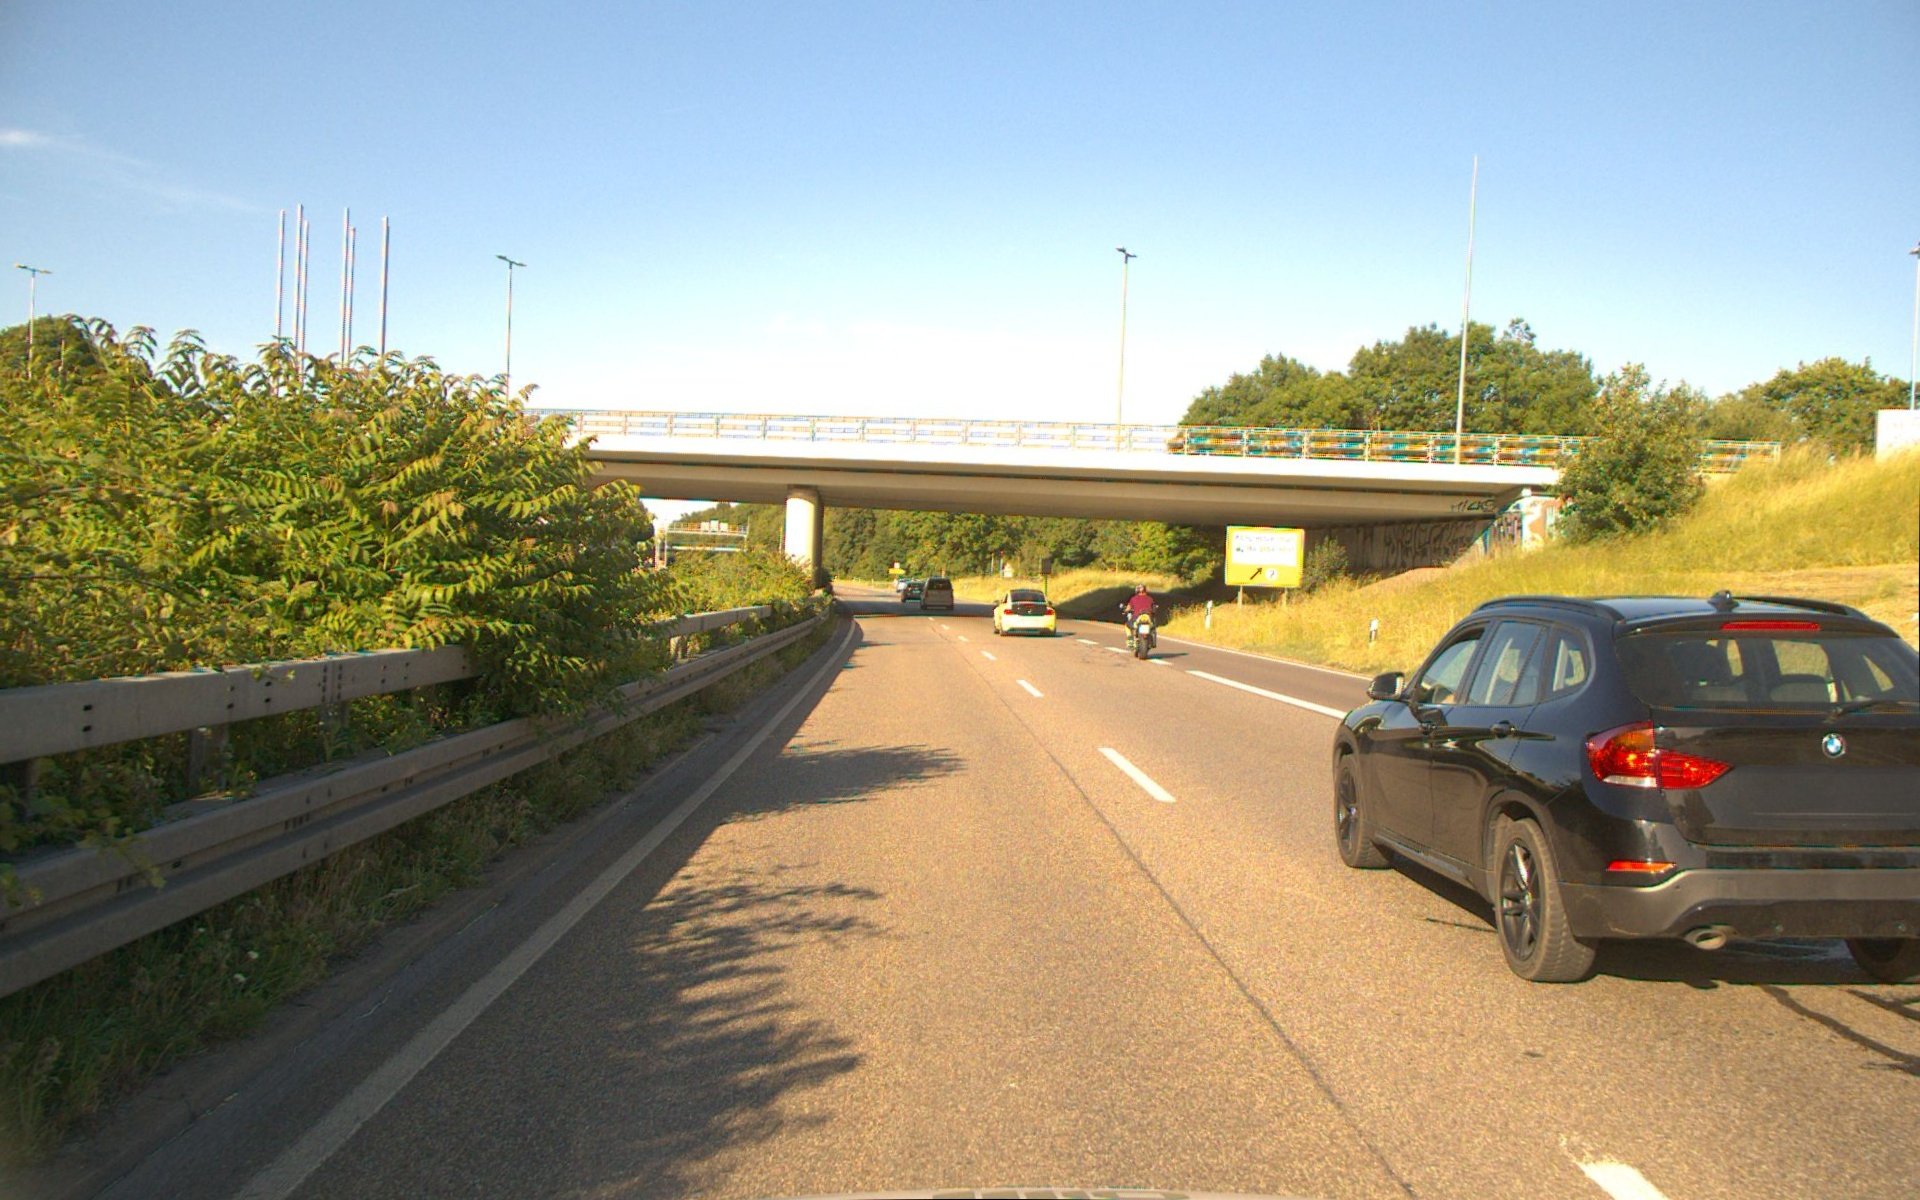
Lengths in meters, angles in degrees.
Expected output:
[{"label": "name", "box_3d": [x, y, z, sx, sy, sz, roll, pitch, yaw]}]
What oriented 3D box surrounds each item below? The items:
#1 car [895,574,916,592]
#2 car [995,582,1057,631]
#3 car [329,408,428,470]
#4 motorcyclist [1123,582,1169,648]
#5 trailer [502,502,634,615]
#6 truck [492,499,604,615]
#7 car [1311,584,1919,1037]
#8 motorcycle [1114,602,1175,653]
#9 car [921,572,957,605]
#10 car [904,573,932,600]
[{"label": "car", "box_3d": [-5.700, -1.791, 173.145, 1.833, 1.714, 3.994, 3, 0, -7]}, {"label": "car", "box_3d": [2.106, 0.189, 53.475, 1.858, 1.496, 4.000, 1, 1, 1]}, {"label": "car", "box_3d": [-28.954, -7.999, 82.391, 4.221, 2.854, 2.081, 2, 1, 21]}, {"label": "motorcyclist", "box_3d": [4.226, 0.327, 37.682, 0.801, 1.472, 1.092, 1, 0, -6]}, {"label": "trailer", "box_3d": [-14.421, -1.495, 61.881, 2.721, 3.721, 12.196, 2, 1, -4]}, {"label": "truck", "box_3d": [-14.120, -1.462, 57.089, 2.721, 3.721, 5.320, 2, 1, -4]}, {"label": "car", "box_3d": [3.091, 0.698, 7.973, 1.665, 1.532, 4.577, 0, 1, -2]}, {"label": "motorcycle", "box_3d": [4.208, 0.606, 37.856, 0.801, 1.088, 2.832, 1, 0, -6]}, {"label": "car", "box_3d": [-1.223, -0.656, 94.746, 1.859, 1.798, 3.997, 0, 0, -4]}, {"label": "car", "box_3d": [-2.991, -0.974, 117.072, 1.859, 1.798, 3.998, 1, 1, -2]}]
